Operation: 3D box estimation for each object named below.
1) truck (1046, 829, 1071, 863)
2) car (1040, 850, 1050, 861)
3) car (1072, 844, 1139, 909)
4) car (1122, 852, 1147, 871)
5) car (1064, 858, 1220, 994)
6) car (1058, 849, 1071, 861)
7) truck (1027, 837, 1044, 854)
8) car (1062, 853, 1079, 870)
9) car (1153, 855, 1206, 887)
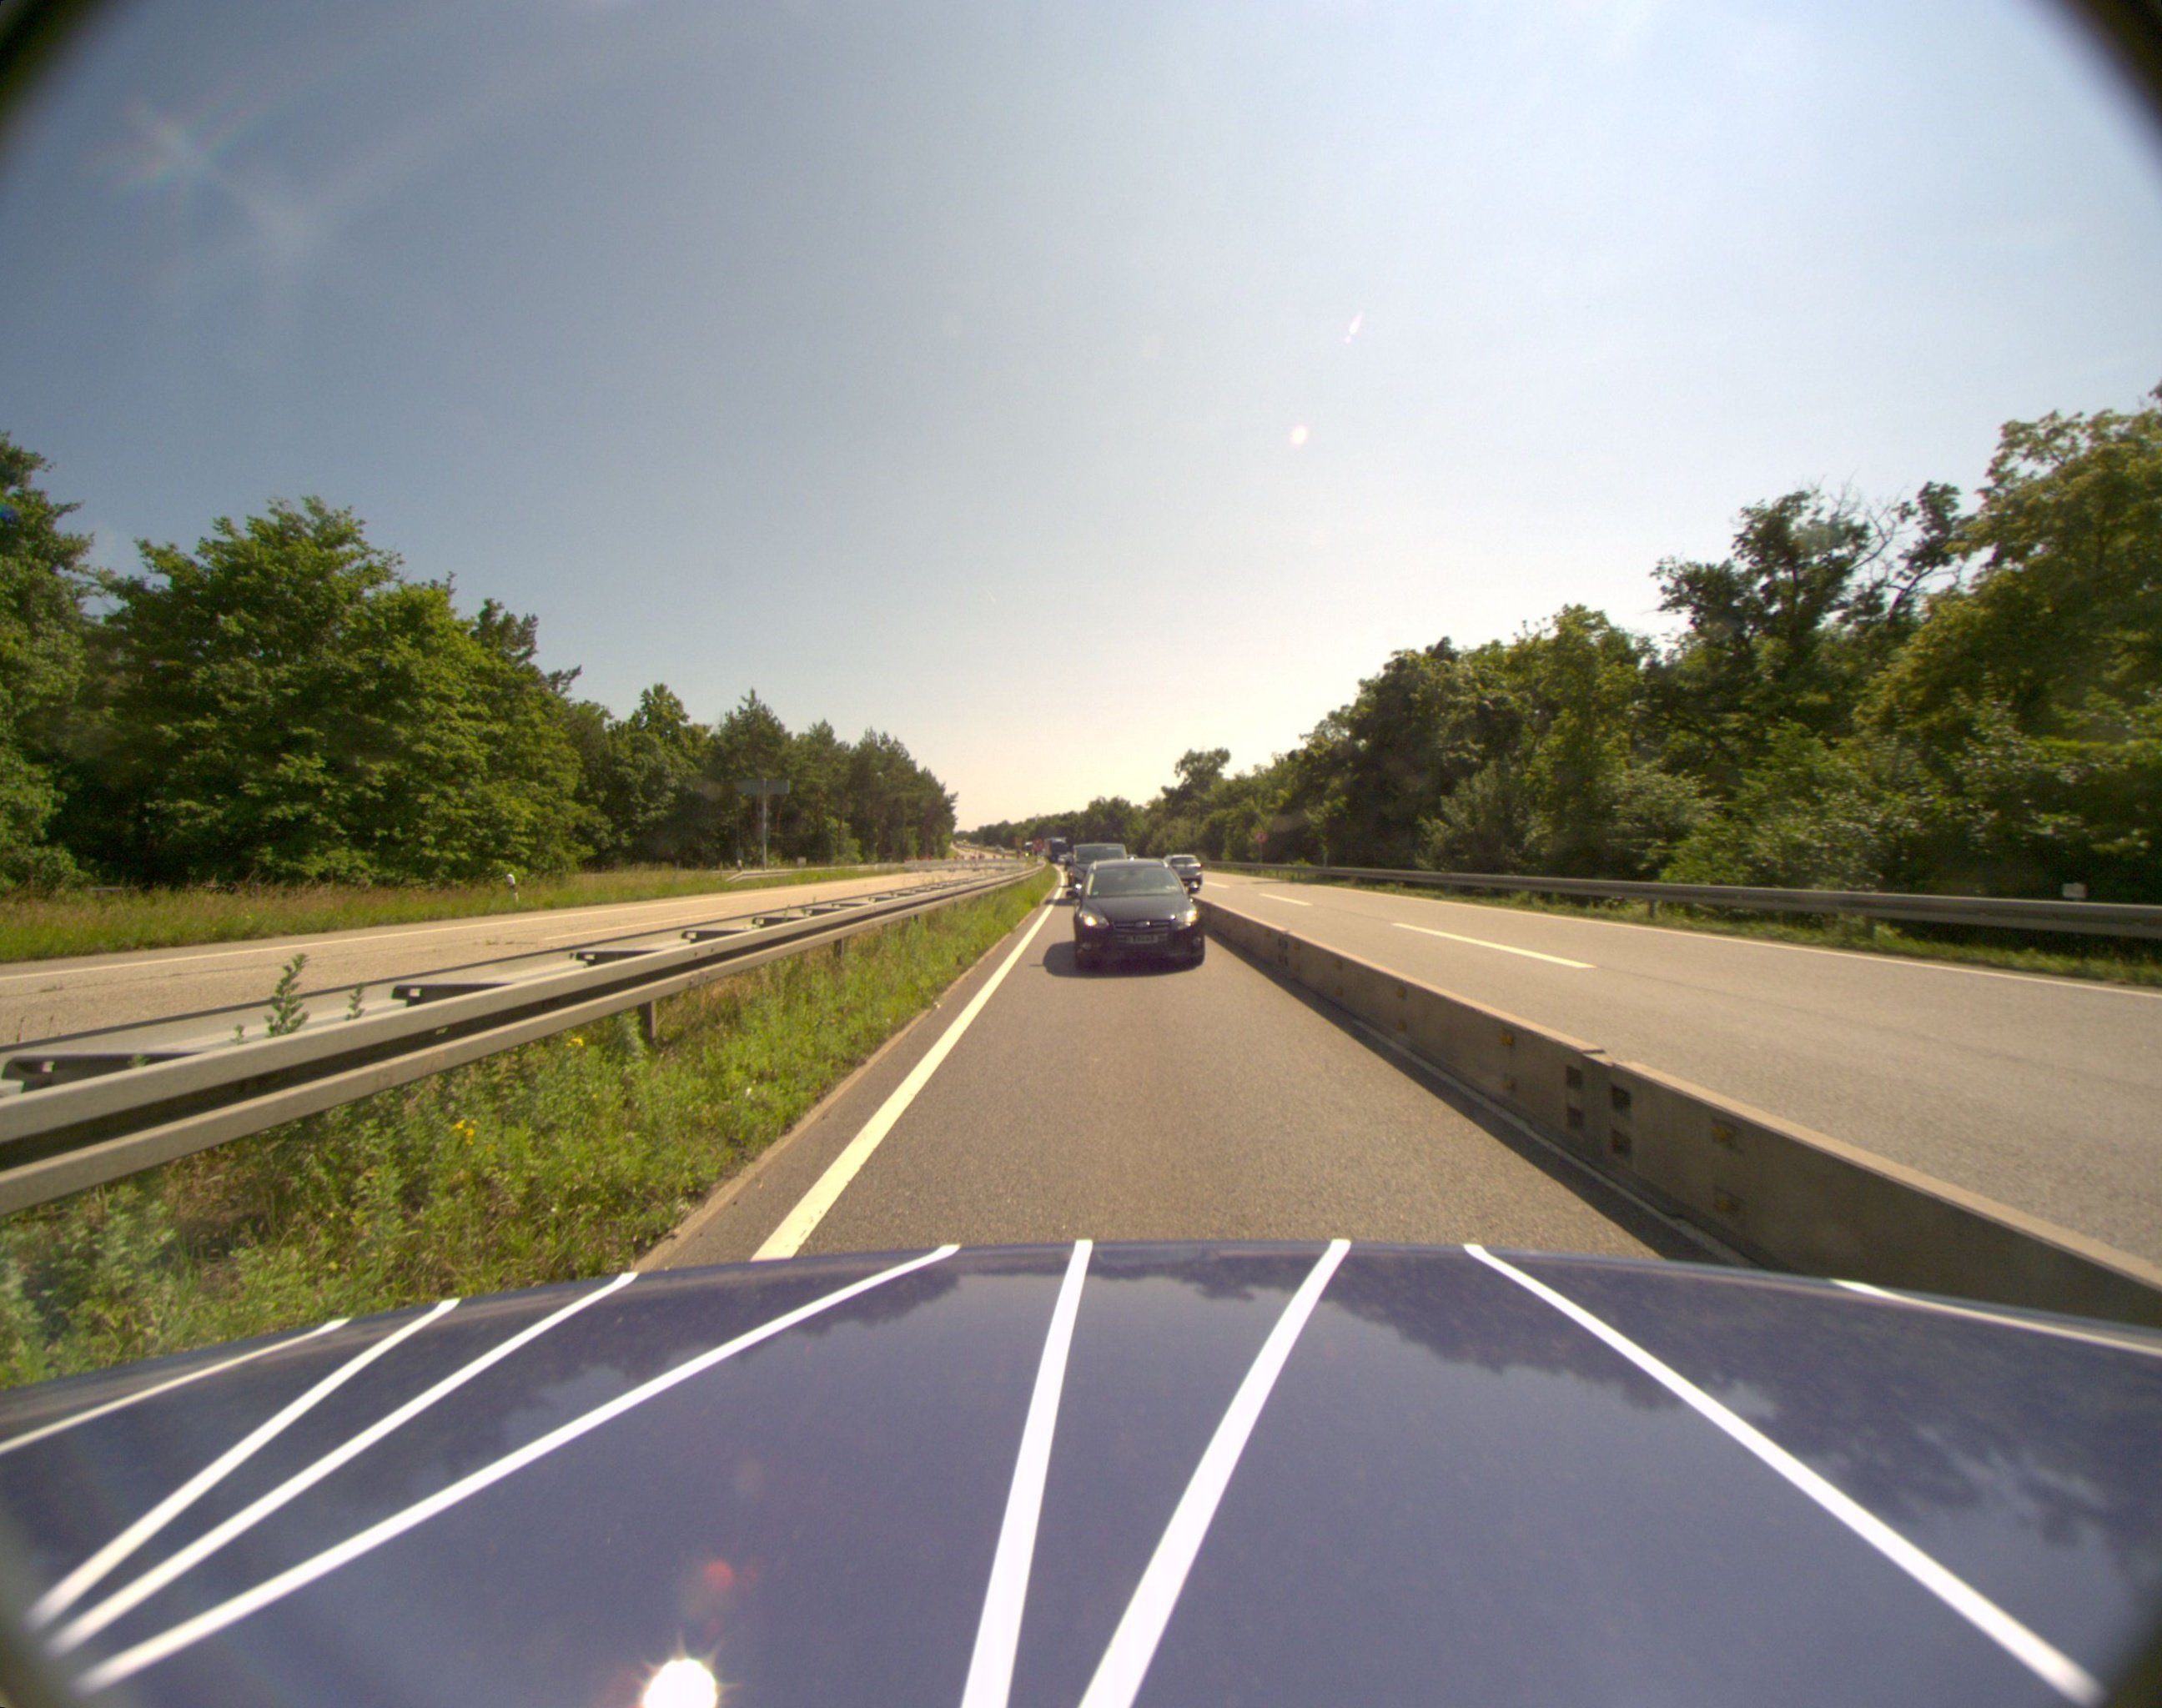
[{"bbox_3d":[-3.777,-1.351,125.661,3.830,5.266,11.243,-1,0,-2],"label":"truck"},{"bbox_3d":[-6.911,0.234,145.765,1.527,1.648,3.976,-7,4,-5],"label":"car"},{"bbox_3d":[0.752,0.676,25.572,1.959,1.901,4.935,-2,0,0],"label":"car"},{"bbox_3d":[4.441,0.614,63.461,1.826,1.473,4.256,-2,0,1],"label":"car"},{"bbox_3d":[0.774,0.890,11.664,1.846,1.537,4.935,-2,0,1],"label":"car"},{"bbox_3d":[-2.385,0.158,108.519,1.528,1.647,3.752,0,0,-5],"label":"car"},{"bbox_3d":[-11.897,-2.233,197.622,3.831,4.265,11.240,-1,0,-5],"label":"truck"},{"bbox_3d":[-1.071,0.709,73.252,1.527,1.647,3.979,0,0,-2],"label":"car"},{"bbox_3d":[4.703,0.763,36.894,1.954,1.413,4.352,-1,0,0],"label":"car"}]
